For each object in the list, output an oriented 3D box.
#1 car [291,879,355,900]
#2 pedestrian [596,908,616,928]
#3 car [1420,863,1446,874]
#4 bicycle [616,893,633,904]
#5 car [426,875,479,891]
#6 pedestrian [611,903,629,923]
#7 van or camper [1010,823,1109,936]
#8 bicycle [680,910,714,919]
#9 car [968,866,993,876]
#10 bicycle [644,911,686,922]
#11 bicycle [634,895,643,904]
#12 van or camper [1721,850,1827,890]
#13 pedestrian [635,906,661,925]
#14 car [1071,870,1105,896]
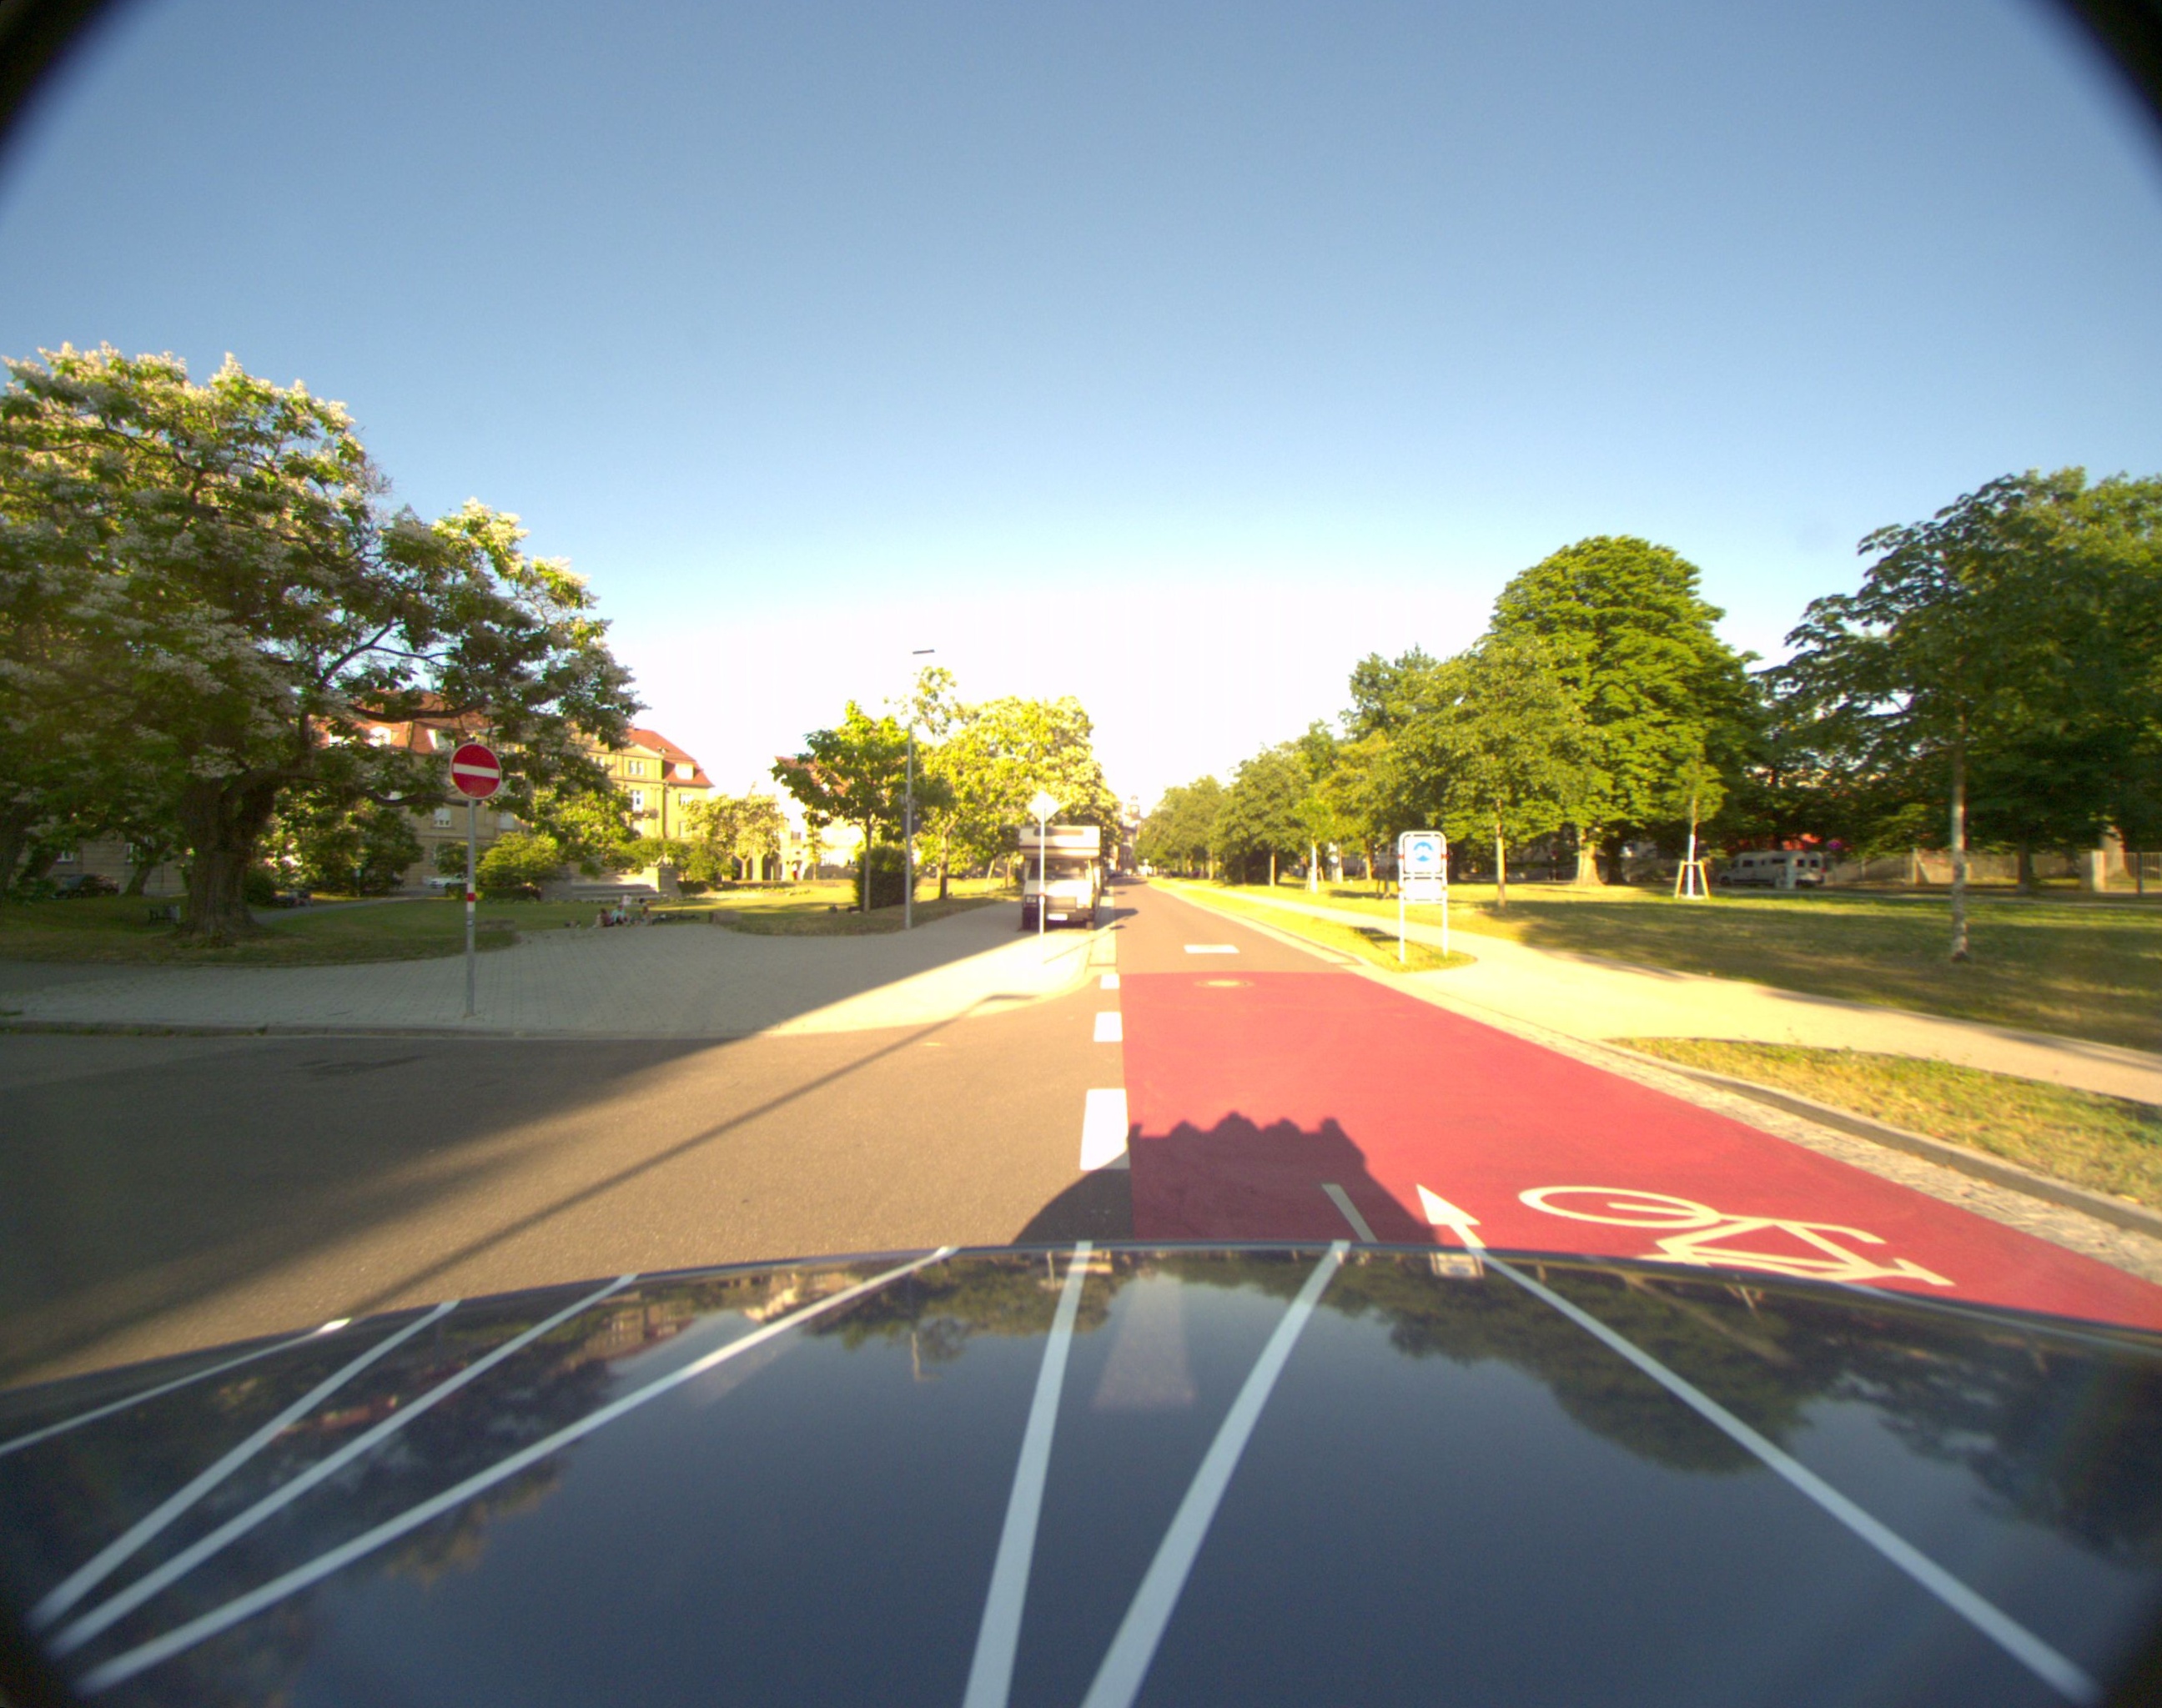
[{"bbox_3d":[-62.517,2.873,62.753,1.776,1.574,3.997,-1,-1,-9],"label":"car"},{"bbox_3d":[-18.907,2.555,30.260,0.498,0.742,0.455,-1,-1,-2],"label":"pedestrian"},{"bbox_3d":[48.331,2.054,104.379,1.796,1.455,4.001,-1,-1,2],"label":"car"},{"bbox_3d":[-29.829,2.898,49.665,0.907,0.648,0.438,0,-1,-36],"label":"bicycle"},{"bbox_3d":[-60.777,2.804,73.588,1.724,1.489,3.709,-1,-2,9],"label":"car"},{"bbox_3d":[-19.731,2.533,32.499,0.453,0.830,0.499,-1,-1,35],"label":"pedestrian"},{"bbox_3d":[-0.472,0.680,22.098,2.427,2.766,5.953,2,0,1],"label":"van or camper"},{"bbox_3d":[-18.233,2.870,36.096,0.659,0.317,1.704,0,-1,5],"label":"bicycle"},{"bbox_3d":[-16.207,2.755,122.566,3.707,1.490,1.724,-1,-1,-16],"label":"car"},{"bbox_3d":[-18.550,2.789,33.933,0.659,0.380,1.933,0,-1,5],"label":"bicycle"},{"bbox_3d":[-29.214,3.006,50.139,0.488,0.579,0.438,0,-1,-36],"label":"bicycle"},{"bbox_3d":[46.329,1.094,50.994,1.998,2.424,5.468,-3,-1,1],"label":"van or camper"},{"bbox_3d":[-17.910,2.546,31.406,0.497,0.760,0.812,-2,-2,41],"label":"pedestrian"},{"bbox_3d":[0.457,1.778,47.188,1.998,1.501,4.001,-1,-1,2],"label":"car"}]
